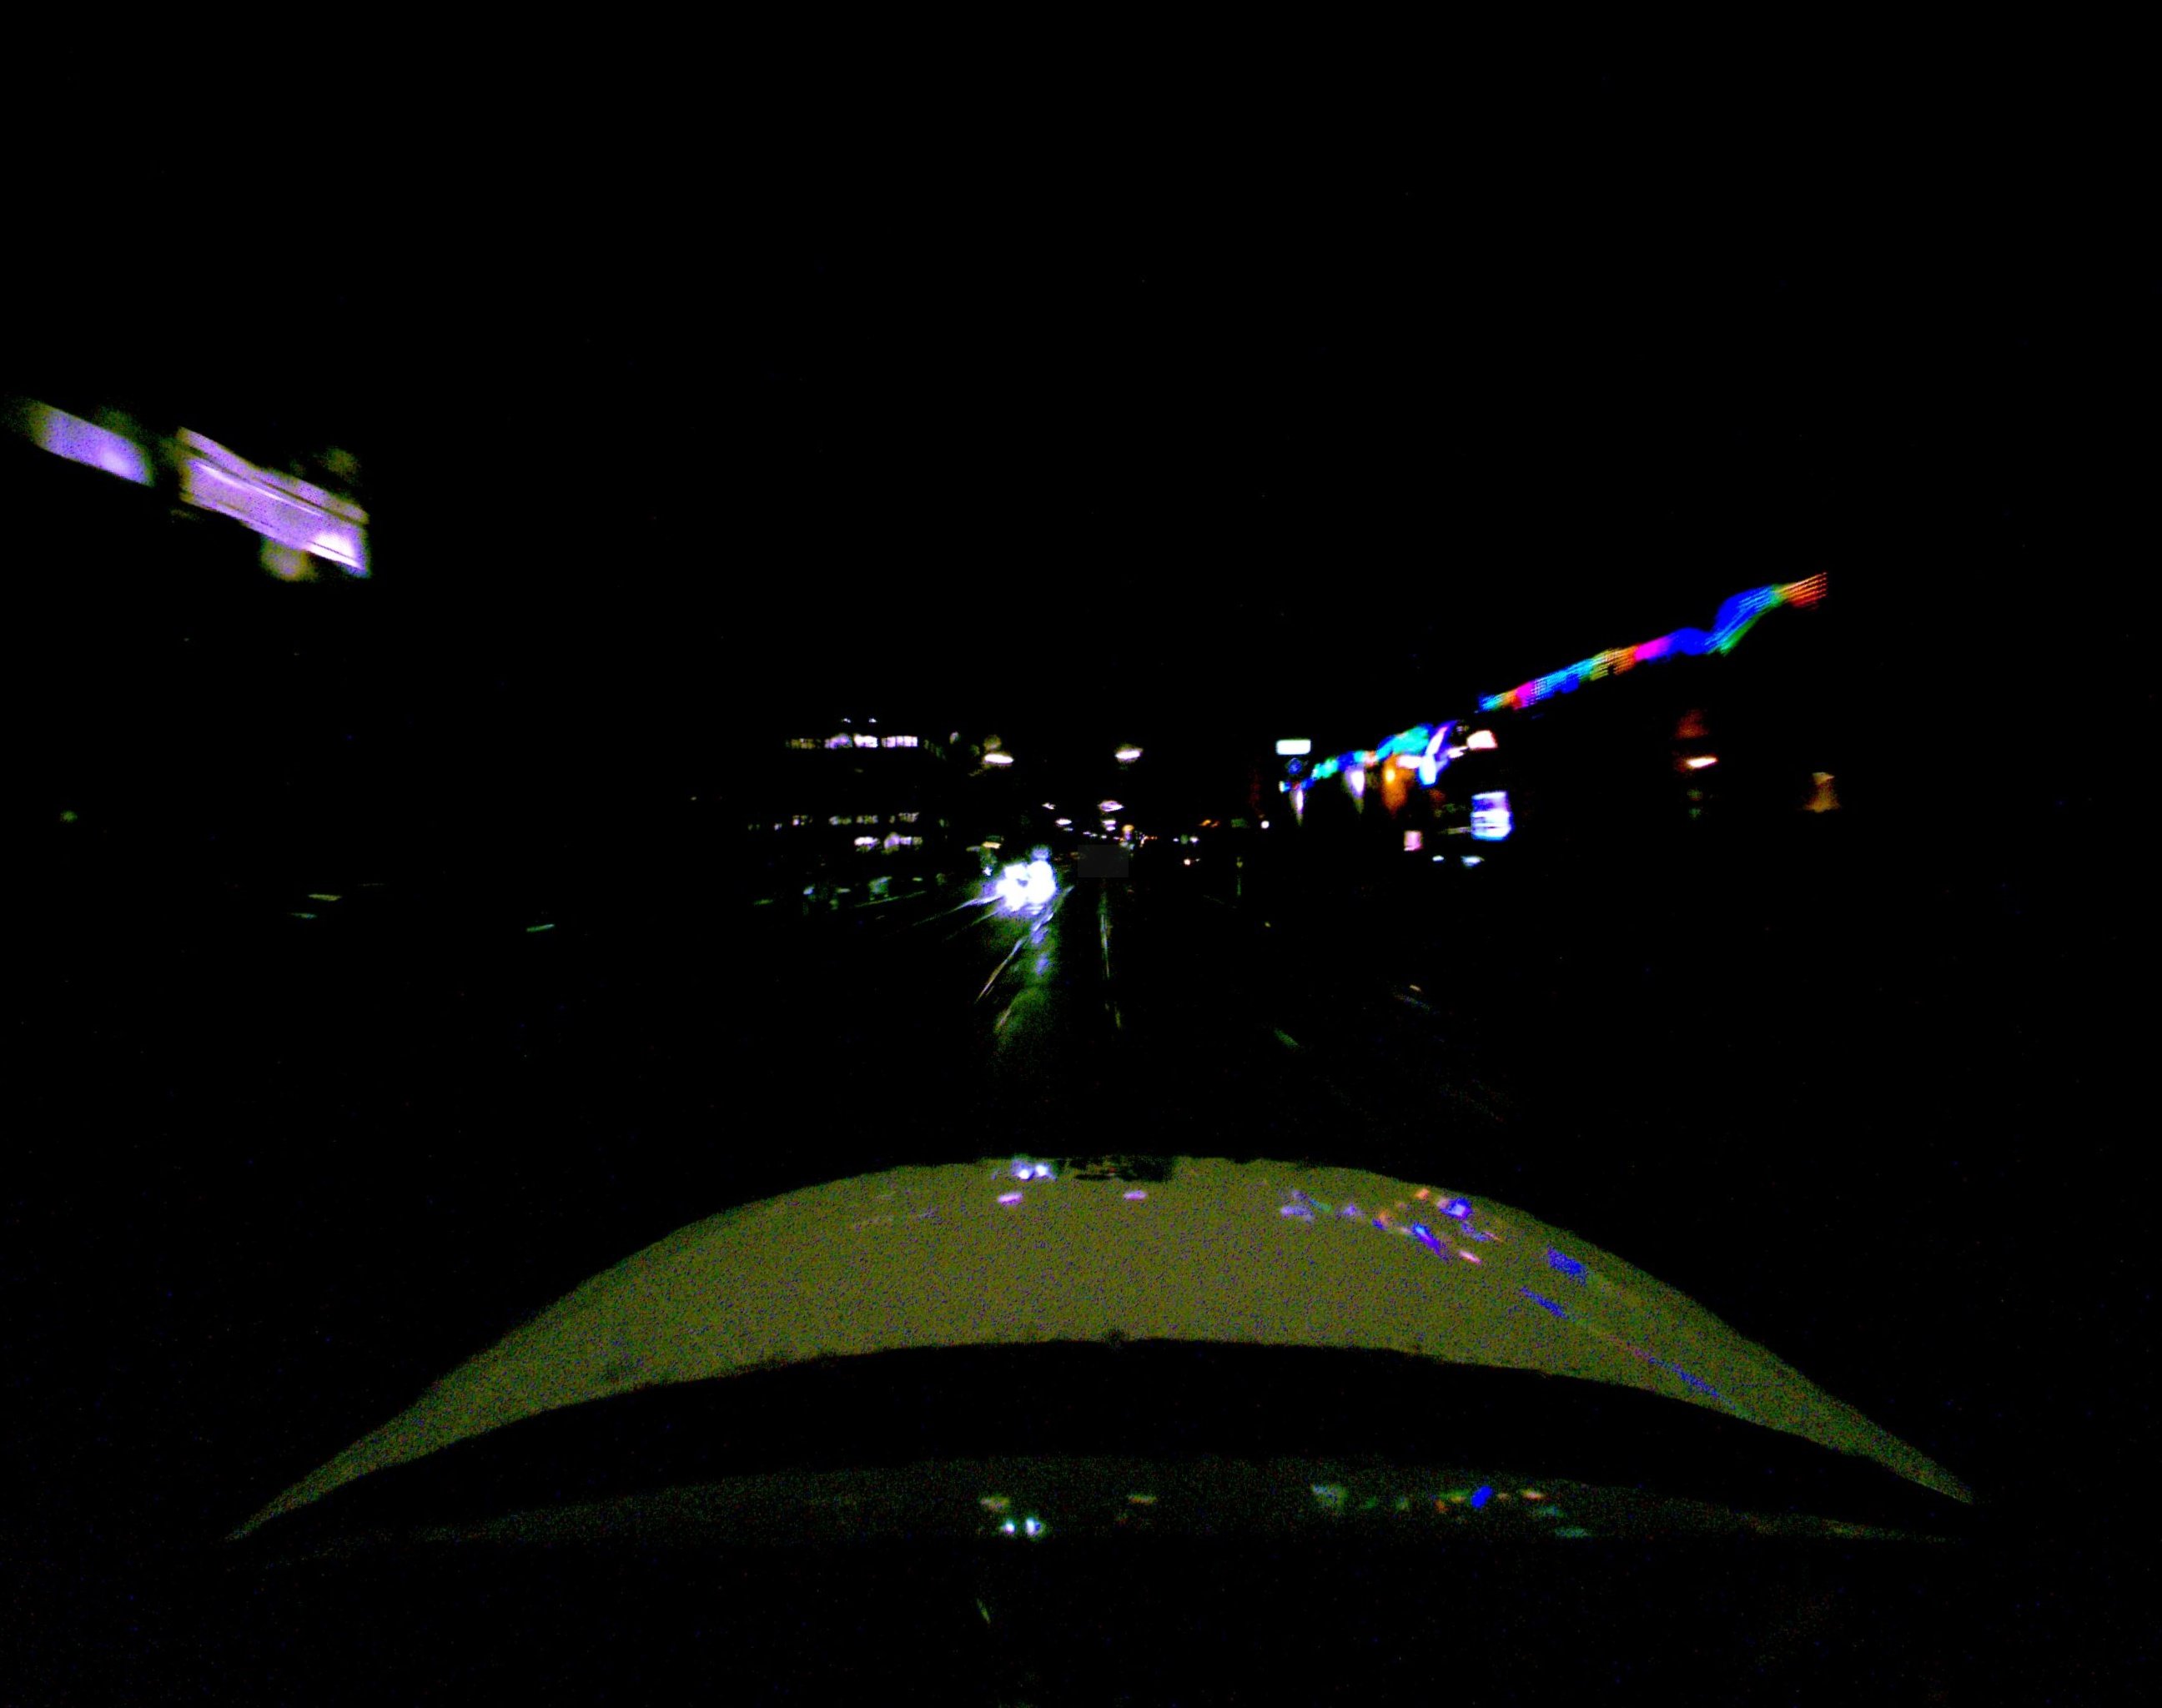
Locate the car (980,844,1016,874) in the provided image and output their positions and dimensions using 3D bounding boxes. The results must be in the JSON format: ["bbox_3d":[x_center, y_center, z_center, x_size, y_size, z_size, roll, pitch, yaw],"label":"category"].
[{"bbox_3d":[-7.488,0.390,73.741,2.176,2.591,6.398,-1,0,3],"label":"car"}]

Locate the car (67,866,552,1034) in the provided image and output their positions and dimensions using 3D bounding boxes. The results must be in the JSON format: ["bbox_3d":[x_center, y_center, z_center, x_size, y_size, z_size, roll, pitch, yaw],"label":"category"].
[{"bbox_3d":[-8.999,0.979,10.203,1.875,1.545,4.396,2,0,-2],"label":"car"}]

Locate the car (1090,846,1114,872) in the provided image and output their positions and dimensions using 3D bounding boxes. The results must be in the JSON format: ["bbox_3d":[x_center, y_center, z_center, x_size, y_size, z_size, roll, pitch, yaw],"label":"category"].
[{"bbox_3d":[2.010,0.503,78.899,2.237,2.361,4.393,-1,0,0],"label":"car"}]

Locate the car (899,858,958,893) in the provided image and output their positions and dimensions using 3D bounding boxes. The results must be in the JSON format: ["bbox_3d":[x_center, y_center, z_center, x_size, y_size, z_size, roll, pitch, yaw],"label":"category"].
[{"bbox_3d":[-7.810,1.055,42.229,1.961,1.655,4.604,1,0,3],"label":"car"}]

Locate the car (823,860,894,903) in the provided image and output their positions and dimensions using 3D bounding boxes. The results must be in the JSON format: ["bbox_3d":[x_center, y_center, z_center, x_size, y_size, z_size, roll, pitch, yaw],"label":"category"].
[{"bbox_3d":[-8.369,0.984,30.947,1.686,1.421,3.912,-2,0,-2],"label":"car"}]

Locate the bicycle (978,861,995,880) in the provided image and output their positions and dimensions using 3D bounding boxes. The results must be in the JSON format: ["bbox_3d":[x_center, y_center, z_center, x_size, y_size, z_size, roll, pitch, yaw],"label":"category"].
[{"bbox_3d":[-5.980,1.028,51.570,0.779,1.082,1.919,-3,0,1],"label":"bicycle"}]

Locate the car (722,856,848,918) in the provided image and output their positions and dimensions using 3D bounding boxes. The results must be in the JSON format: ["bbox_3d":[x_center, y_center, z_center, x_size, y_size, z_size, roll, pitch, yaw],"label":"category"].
[{"bbox_3d":[-8.612,0.906,24.188,1.976,1.631,4.518,-1,0,1],"label":"car"}]

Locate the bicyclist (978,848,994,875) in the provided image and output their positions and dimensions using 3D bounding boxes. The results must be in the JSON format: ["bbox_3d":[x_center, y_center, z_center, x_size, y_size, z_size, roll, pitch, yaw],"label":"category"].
[{"bbox_3d":[-6.012,0.470,51.579,0.780,1.655,1.206,-3,-1,1],"label":"bicyclist"}]

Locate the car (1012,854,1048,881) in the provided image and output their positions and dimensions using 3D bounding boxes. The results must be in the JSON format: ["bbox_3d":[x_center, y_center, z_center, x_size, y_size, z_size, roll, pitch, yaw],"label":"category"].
[{"bbox_3d":[-2.998,0.786,48.732,1.769,1.517,4.052,-1,0,2],"label":"car"}]

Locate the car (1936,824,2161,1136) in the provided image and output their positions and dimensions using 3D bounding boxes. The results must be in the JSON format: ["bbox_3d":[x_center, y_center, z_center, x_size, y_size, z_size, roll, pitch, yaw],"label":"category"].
[{"bbox_3d":[7.267,0.589,4.715,4.112,1.537,1.945,-1,0,-24],"label":"car"}]
